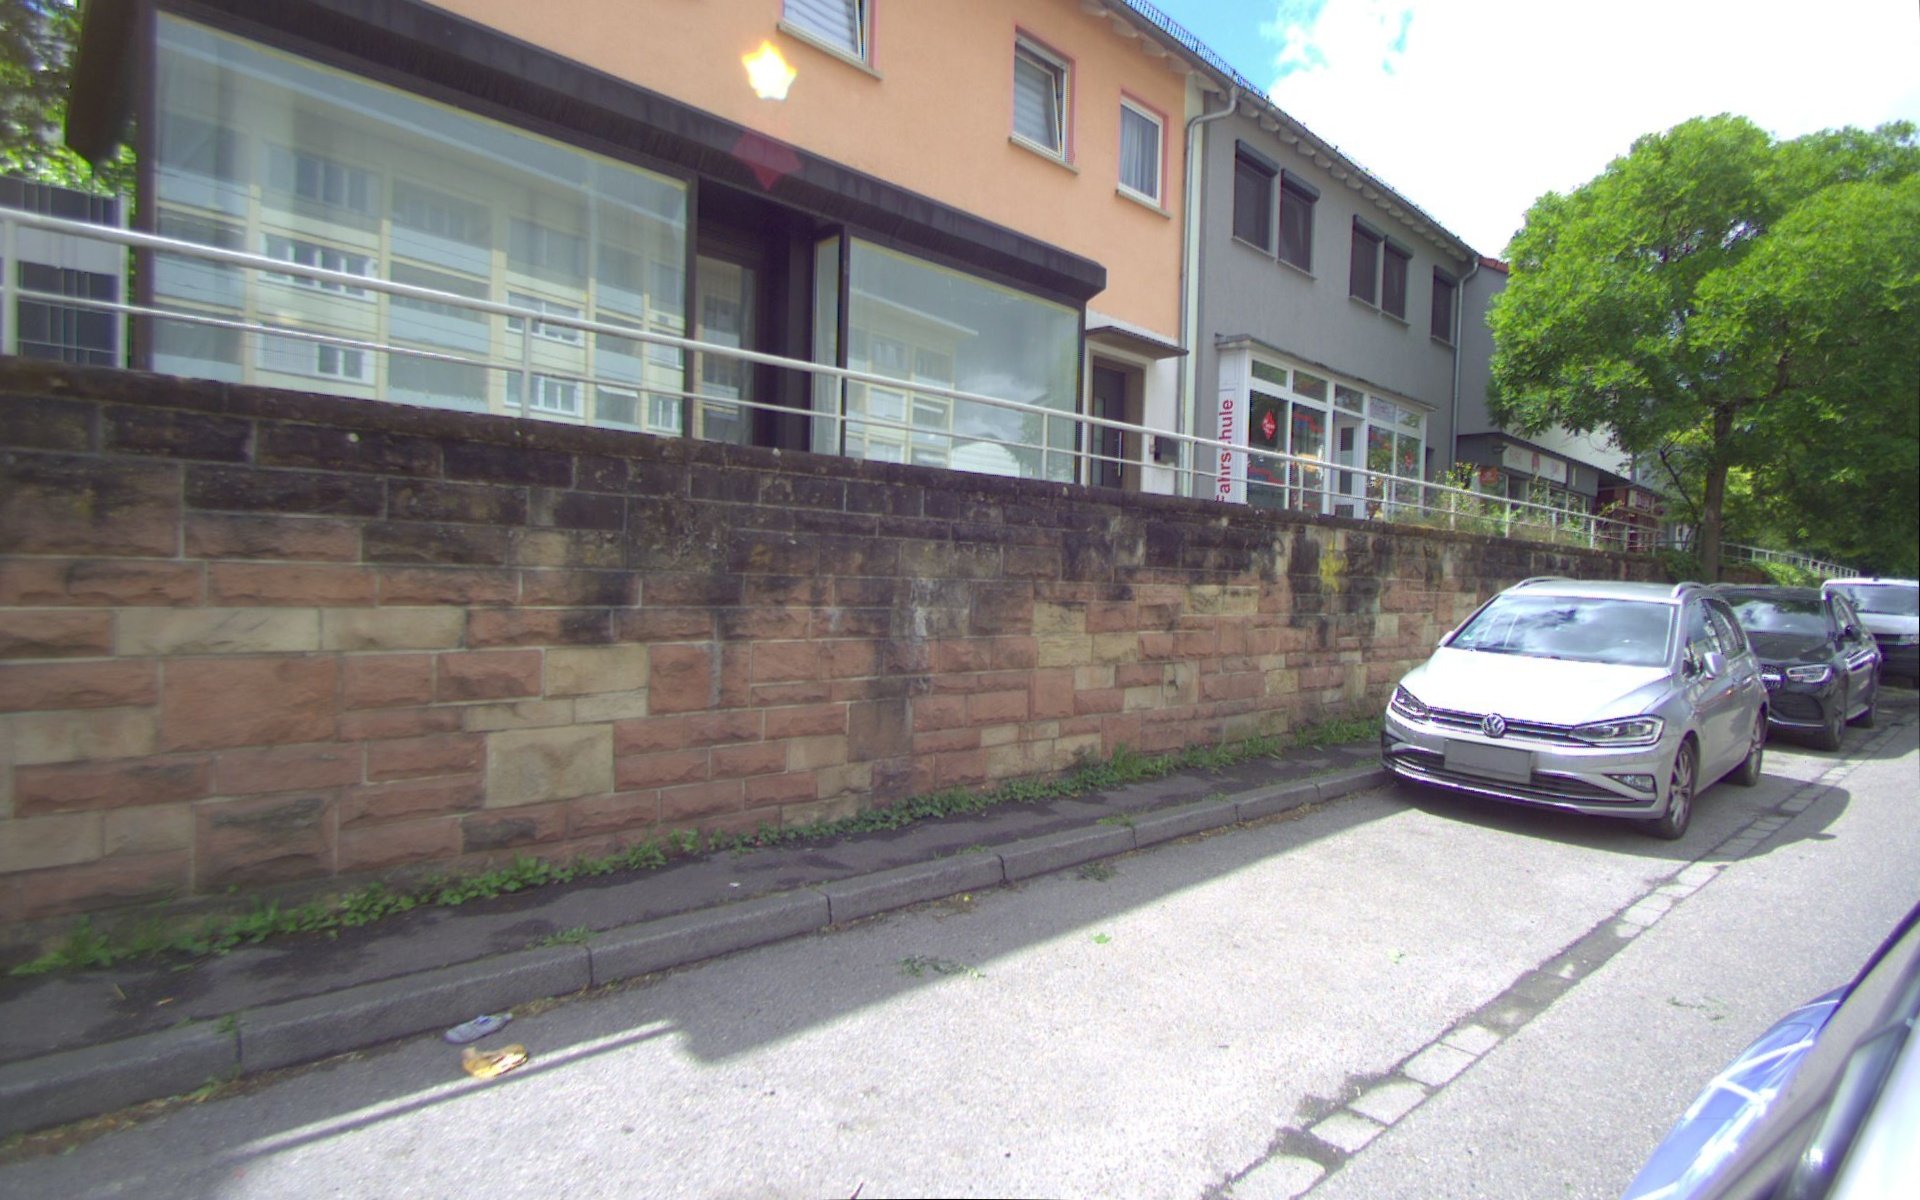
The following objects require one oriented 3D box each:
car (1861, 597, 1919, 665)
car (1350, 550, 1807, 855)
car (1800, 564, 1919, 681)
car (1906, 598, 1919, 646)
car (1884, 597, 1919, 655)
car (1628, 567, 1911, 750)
[{"bbox_3d":[22.113,0.683,23.349,3.670,1.446,1.577,0,1,-42],"label":"car"},{"bbox_3d":[4.806,0.531,7.599,4.176,1.637,1.793,0,3,-42],"label":"car"},{"bbox_3d":[17.902,0.377,19.448,4.926,1.994,1.976,0,1,-42],"label":"car"},{"bbox_3d":[30.989,0.685,31.567,4.076,1.446,1.783,0,1,-42],"label":"car"},{"bbox_3d":[25.907,0.676,26.883,4.077,1.446,1.782,0,2,-45],"label":"car"},{"bbox_3d":[9.346,0.524,11.550,4.372,1.637,1.793,0,4,-42],"label":"car"}]
